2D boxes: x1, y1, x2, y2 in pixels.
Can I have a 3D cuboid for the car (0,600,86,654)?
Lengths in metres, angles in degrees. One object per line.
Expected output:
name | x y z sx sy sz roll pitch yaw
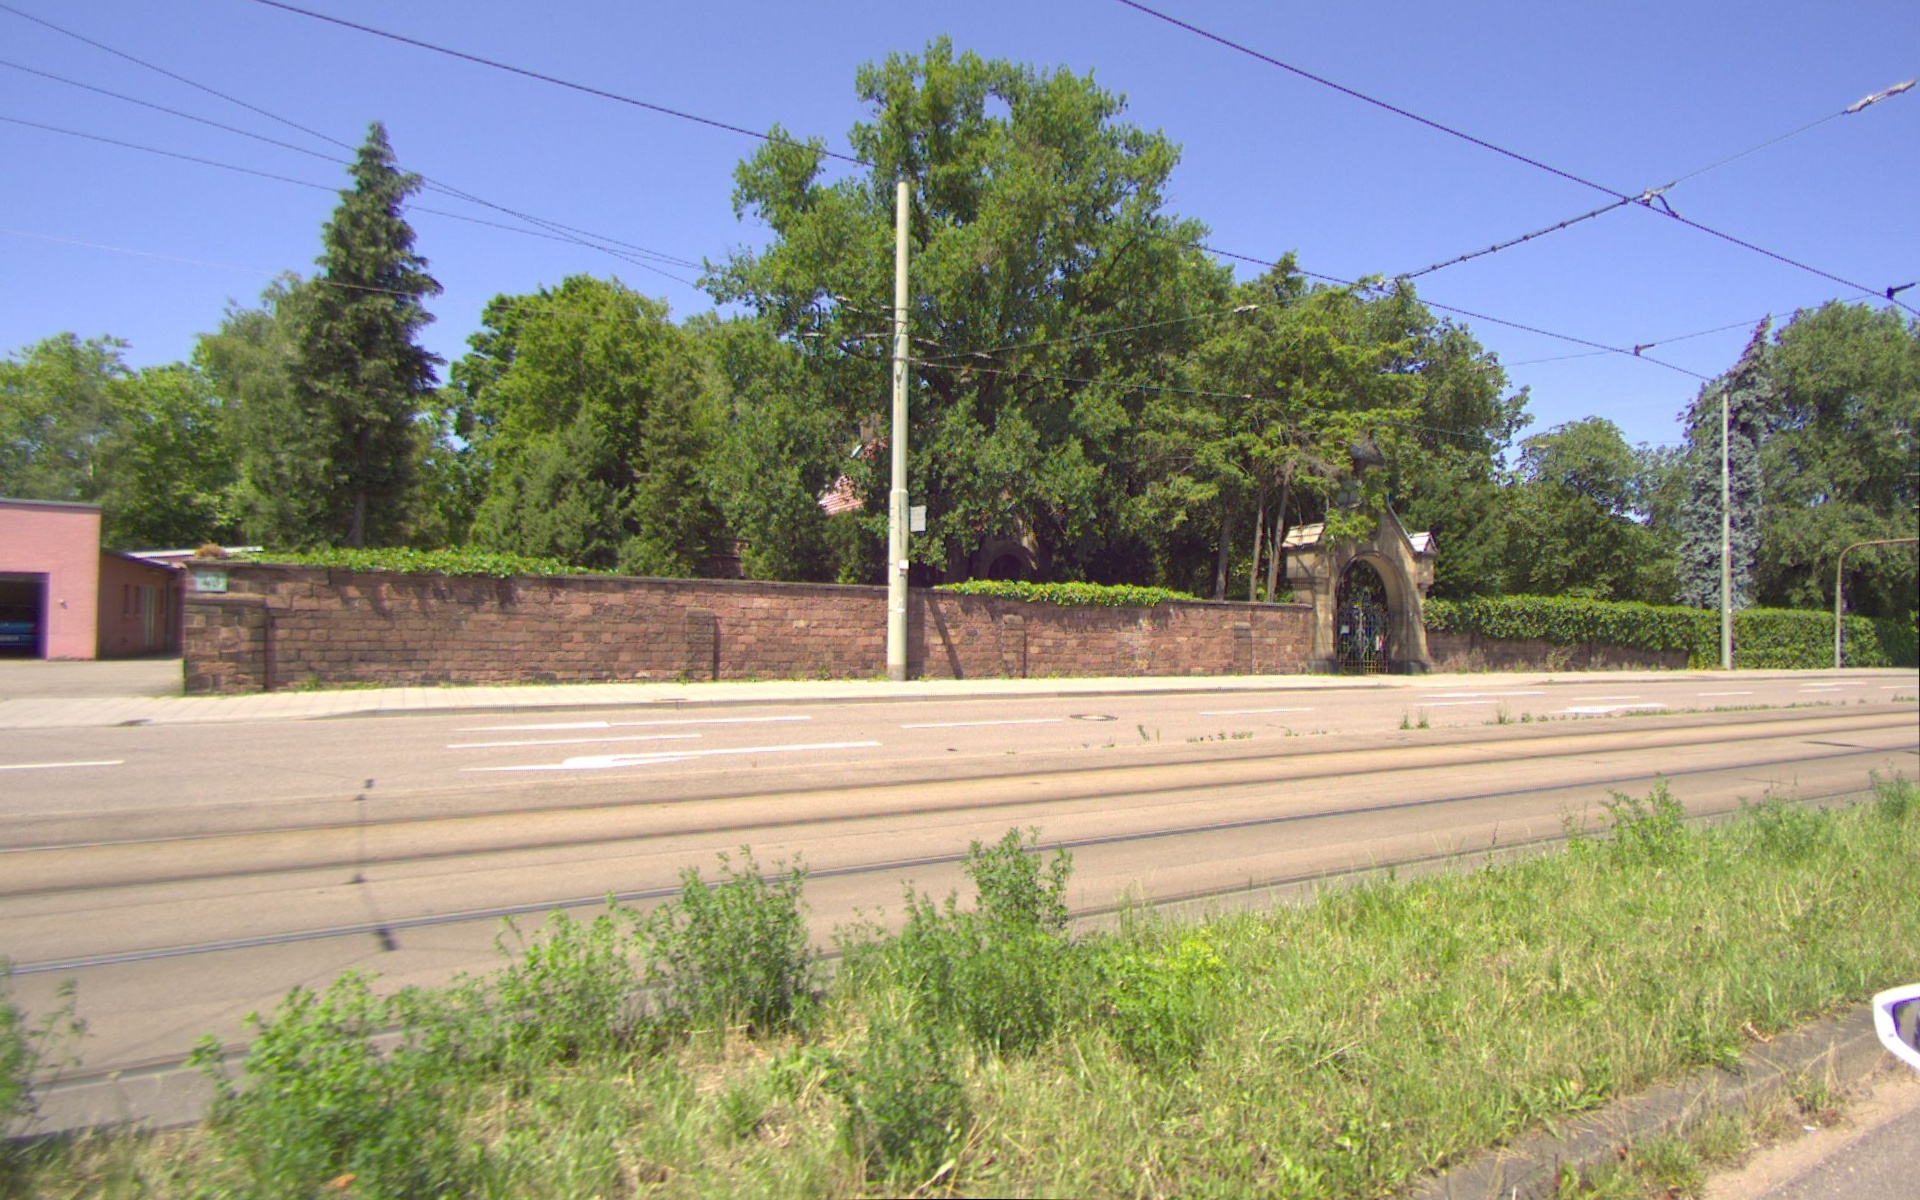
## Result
car | -26.982 0.754 29.140 1.866 1.451 4.349 2 -1 -34
